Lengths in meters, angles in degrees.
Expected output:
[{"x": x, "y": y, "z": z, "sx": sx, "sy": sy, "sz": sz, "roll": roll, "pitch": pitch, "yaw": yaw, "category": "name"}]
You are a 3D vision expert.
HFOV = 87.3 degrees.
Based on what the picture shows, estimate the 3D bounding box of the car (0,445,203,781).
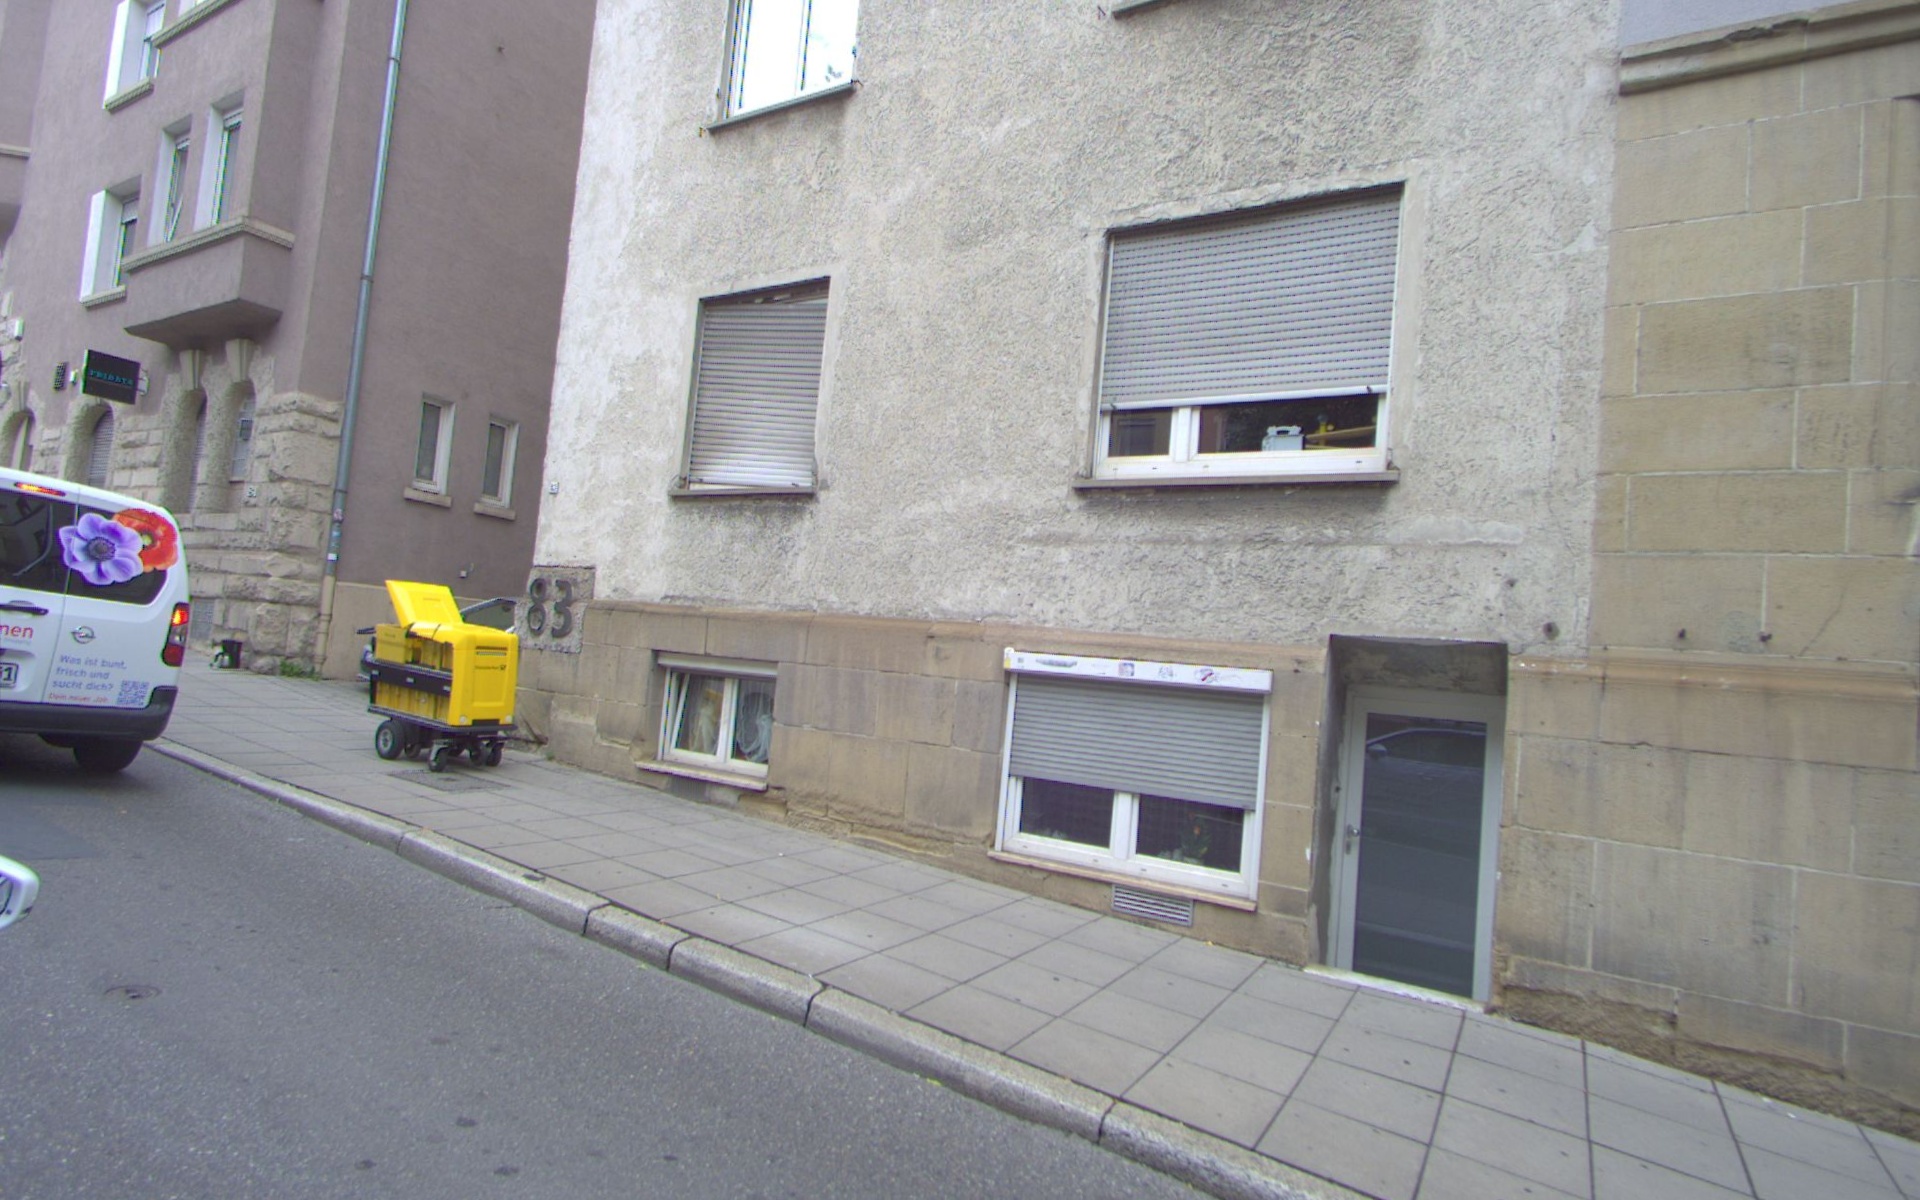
[{"x": -7.351, "y": -0.081, "z": 6.934, "sx": 4.944, "sy": 1.844, "sz": 1.852, "roll": 4, "pitch": -5, "yaw": 36, "category": "car"}]

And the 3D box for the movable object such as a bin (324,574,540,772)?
[{"x": -4.504, "y": 0.593, "z": 8.563, "sx": 1.665, "sy": 1.437, "sz": 0.720, "roll": 5, "pitch": -2, "yaw": 30, "category": "movable object such as a bin"}]

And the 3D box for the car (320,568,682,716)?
[{"x": -5.958, "y": 0.655, "z": 13.538, "sx": 1.770, "sy": 1.419, "sz": 3.996, "roll": 9, "pitch": -2, "yaw": 32, "category": "car"}]
